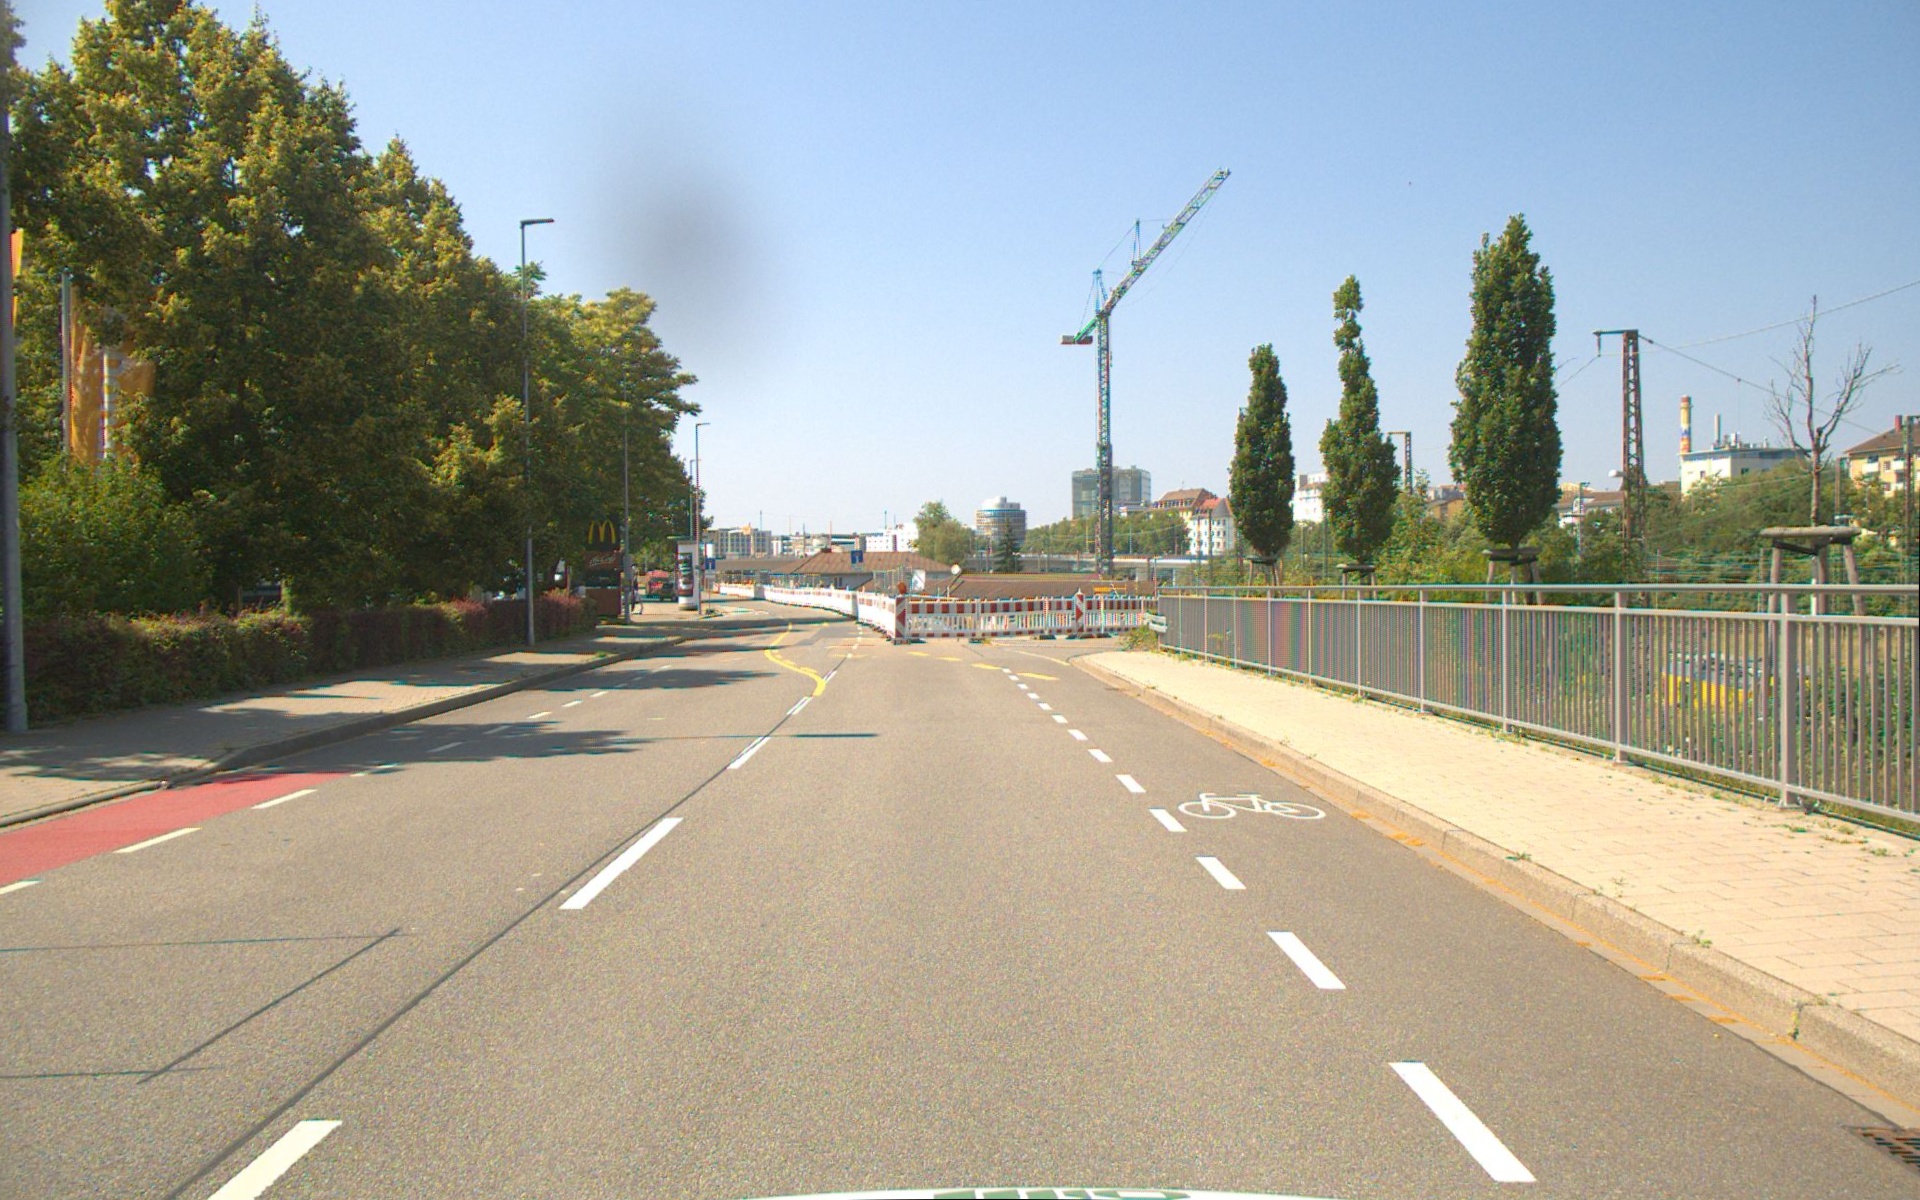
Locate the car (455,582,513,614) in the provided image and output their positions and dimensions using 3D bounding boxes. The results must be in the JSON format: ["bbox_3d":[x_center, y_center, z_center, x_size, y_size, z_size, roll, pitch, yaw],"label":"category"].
[{"bbox_3d":[-29.599,-0.132,102.793,1.983,1.937,3.939,-1,1,-42],"label":"car"}]
